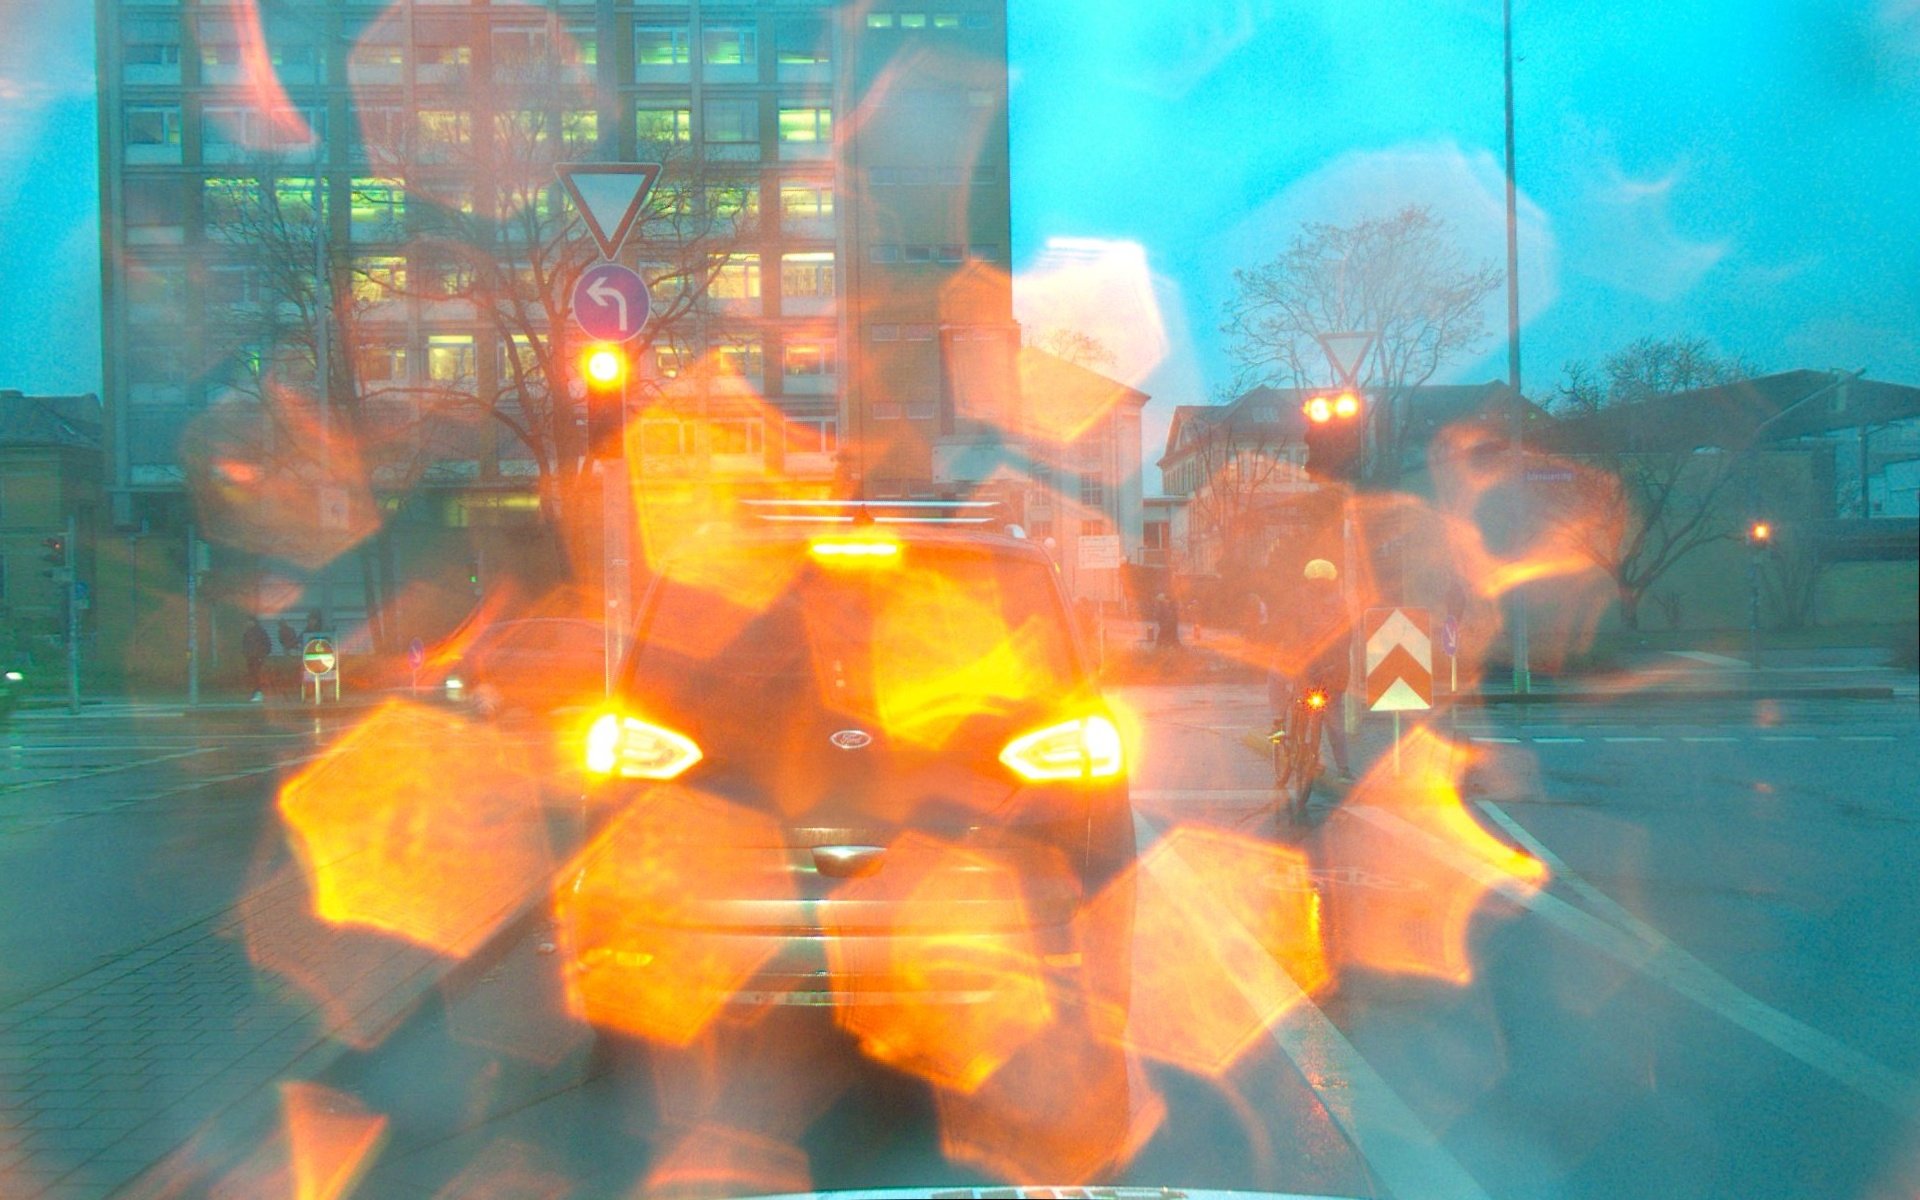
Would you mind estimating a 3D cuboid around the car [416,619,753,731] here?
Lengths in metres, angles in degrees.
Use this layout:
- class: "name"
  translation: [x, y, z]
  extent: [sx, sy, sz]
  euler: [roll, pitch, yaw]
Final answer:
- class: "car"
  translation: [-5.517, 1.093, 24.493]
  extent: [4.480, 1.503, 1.813]
  euler: [-2, -1, 12]

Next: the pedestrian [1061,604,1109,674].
- class: "pedestrian"
  translation: [3.279, 1.012, 43.322]
  extent: [1.111, 1.750, 0.982]
  euler: [-2, 0, 10]

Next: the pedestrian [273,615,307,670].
- class: "pedestrian"
  translation: [-20.535, 1.304, 50.710]
  extent: [0.743, 1.656, 0.558]
  euler: [-2, 0, 14]

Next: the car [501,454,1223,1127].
- class: "car"
  translation: [-0.292, 0.535, 6.548]
  extent: [1.953, 1.821, 3.999]
  euler: [1, 0, -1]

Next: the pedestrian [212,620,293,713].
- class: "pedestrian"
  translation: [-15.091, 1.414, 35.317]
  extent: [0.980, 1.874, 1.140]
  euler: [-2, 2, 19]

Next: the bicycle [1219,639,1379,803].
- class: "bicycle"
  translation: [2.517, 0.865, 12.500]
  extent: [0.767, 1.094, 1.956]
  euler: [1, 0, -1]

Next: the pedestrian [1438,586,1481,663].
- class: "pedestrian"
  translation: [14.373, 0.693, 47.607]
  extent: [0.865, 2.150, 0.895]
  euler: [-2, 0, -5]

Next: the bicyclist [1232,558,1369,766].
- class: "bicyclist"
  translation: [2.538, 0.449, 12.443]
  extent: [0.767, 1.478, 1.133]
  euler: [1, 0, -1]

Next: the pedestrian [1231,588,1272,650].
- class: "pedestrian"
  translation: [7.560, 0.490, 42.952]
  extent: [0.905, 1.559, 1.043]
  euler: [-2, 0, 4]

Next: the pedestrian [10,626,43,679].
- class: "pedestrian"
  translation: [-30.606, 1.722, 54.212]
  extent: [0.625, 1.718, 0.637]
  euler: [-2, 0, 16]

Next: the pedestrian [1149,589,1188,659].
- class: "pedestrian"
  translation: [5.630, 0.646, 44.617]
  extent: [0.975, 1.831, 0.920]
  euler: [-2, 0, 8]

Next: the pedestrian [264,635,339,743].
- class: "pedestrian"
  translation: [-12.839, 1.727, 32.272]
  extent: [0.907, 2.013, 0.961]
  euler: [-2, 0, 12]

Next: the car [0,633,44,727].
- class: "car"
  translation: [-17.365, 1.357, 27.302]
  extent: [3.872, 1.503, 1.812]
  euler: [-2, -1, 20]
